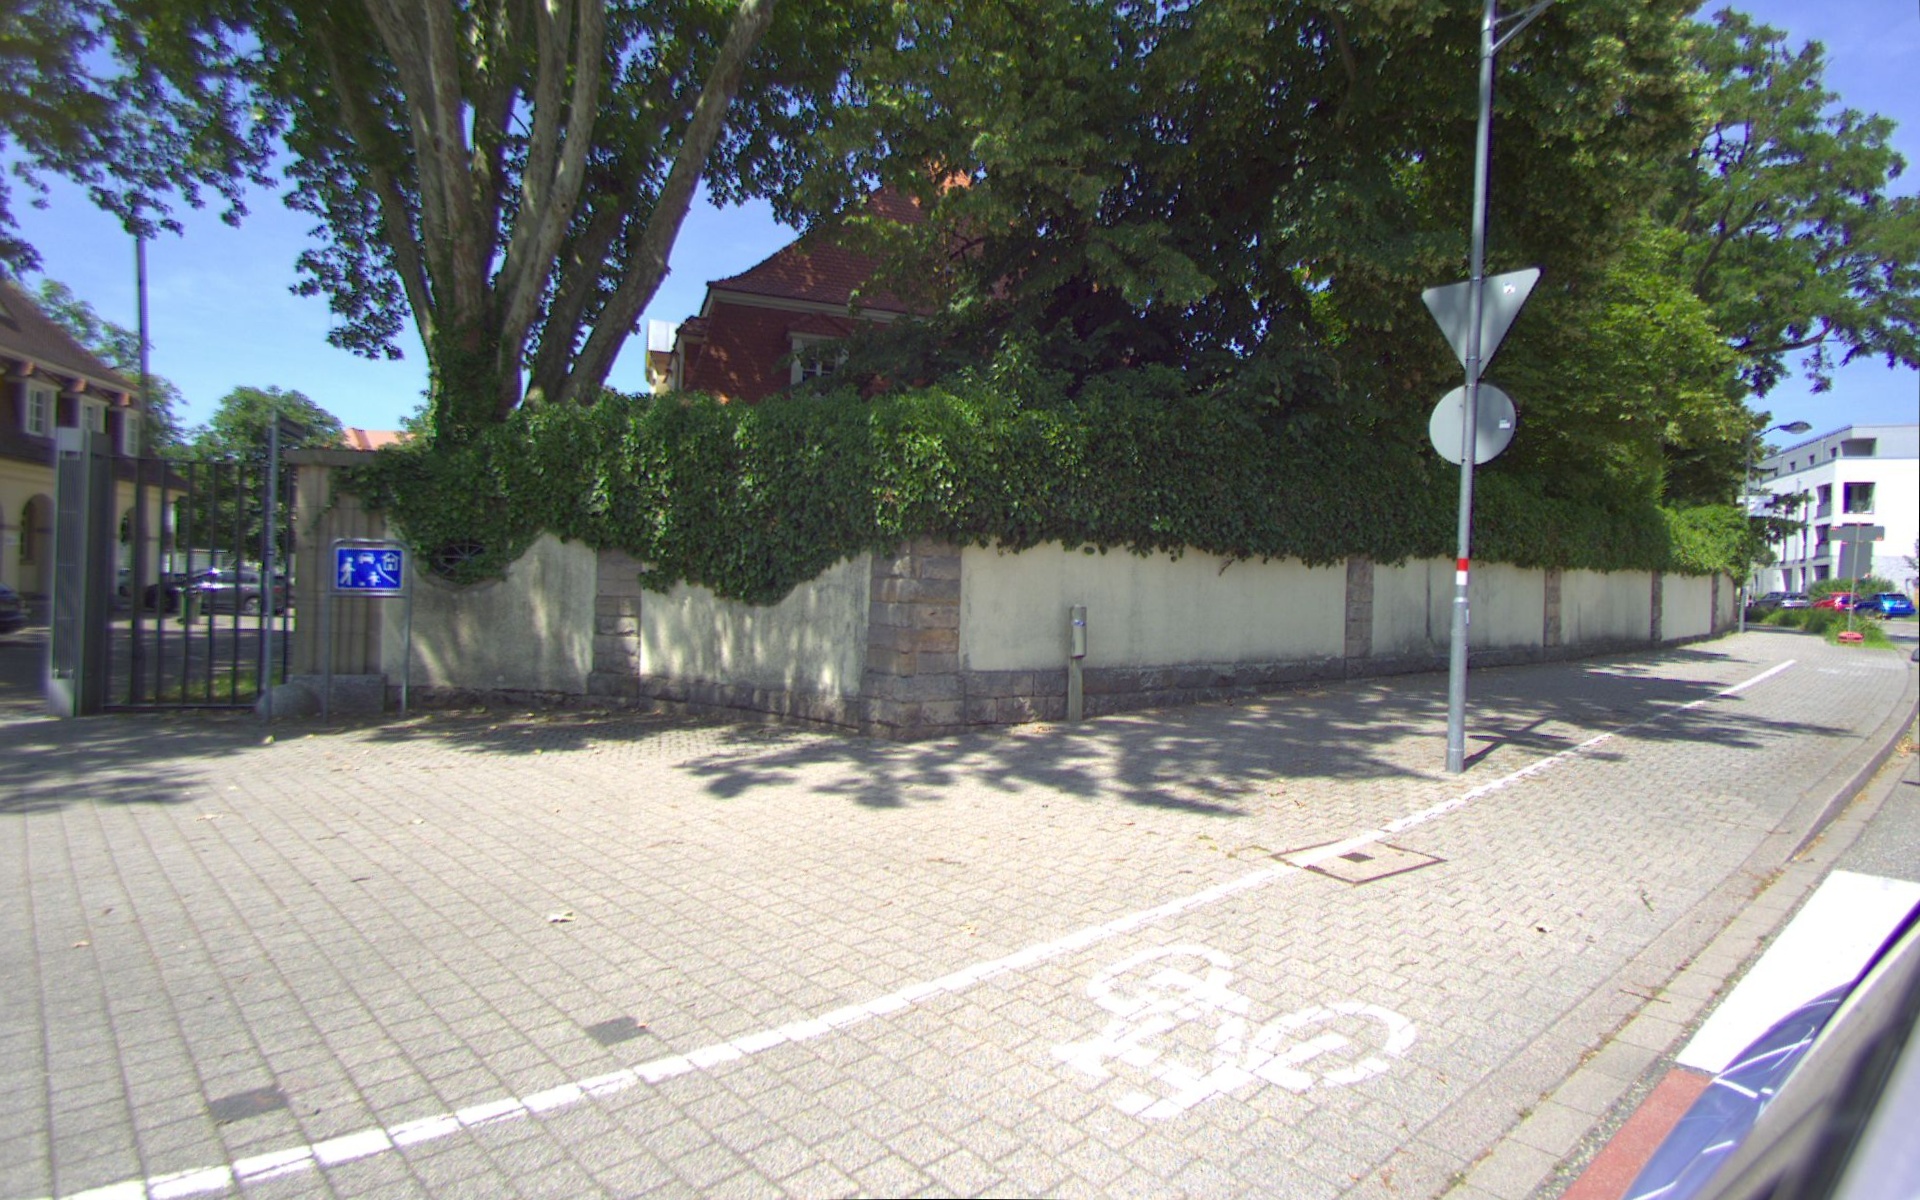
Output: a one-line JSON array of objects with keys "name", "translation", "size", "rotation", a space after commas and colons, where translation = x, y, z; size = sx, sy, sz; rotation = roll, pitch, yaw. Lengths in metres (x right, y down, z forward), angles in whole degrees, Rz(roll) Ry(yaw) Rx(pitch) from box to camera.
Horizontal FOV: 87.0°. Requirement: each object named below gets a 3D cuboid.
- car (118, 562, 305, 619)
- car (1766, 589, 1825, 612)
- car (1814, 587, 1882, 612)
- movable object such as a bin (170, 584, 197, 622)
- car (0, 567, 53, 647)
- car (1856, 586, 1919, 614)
[{"name": "car", "translation": [-24.417, -0.312, 33.190], "size": [4.407, 1.420, 2.004], "rotation": [5, 0, -15]}, {"name": "car", "translation": [54.417, 0.007, 65.974], "size": [1.685, 1.431, 3.700], "rotation": [0, 1, 18]}, {"name": "car", "translation": [52.535, -0.052, 59.925], "size": [1.685, 1.431, 3.700], "rotation": [0, 1, 18]}, {"name": "movable object such as a bin", "translation": [-21.119, 0.079, 27.524], "size": [0.525, 1.021, 0.530], "rotation": [1, 1, 44]}, {"name": "car", "translation": [-20.150, -0.035, 18.800], "size": [4.407, 1.420, 2.004], "rotation": [5, 0, -15]}, {"name": "car", "translation": [50.511, -0.010, 54.782], "size": [1.685, 1.431, 3.700], "rotation": [0, 1, 18]}]
